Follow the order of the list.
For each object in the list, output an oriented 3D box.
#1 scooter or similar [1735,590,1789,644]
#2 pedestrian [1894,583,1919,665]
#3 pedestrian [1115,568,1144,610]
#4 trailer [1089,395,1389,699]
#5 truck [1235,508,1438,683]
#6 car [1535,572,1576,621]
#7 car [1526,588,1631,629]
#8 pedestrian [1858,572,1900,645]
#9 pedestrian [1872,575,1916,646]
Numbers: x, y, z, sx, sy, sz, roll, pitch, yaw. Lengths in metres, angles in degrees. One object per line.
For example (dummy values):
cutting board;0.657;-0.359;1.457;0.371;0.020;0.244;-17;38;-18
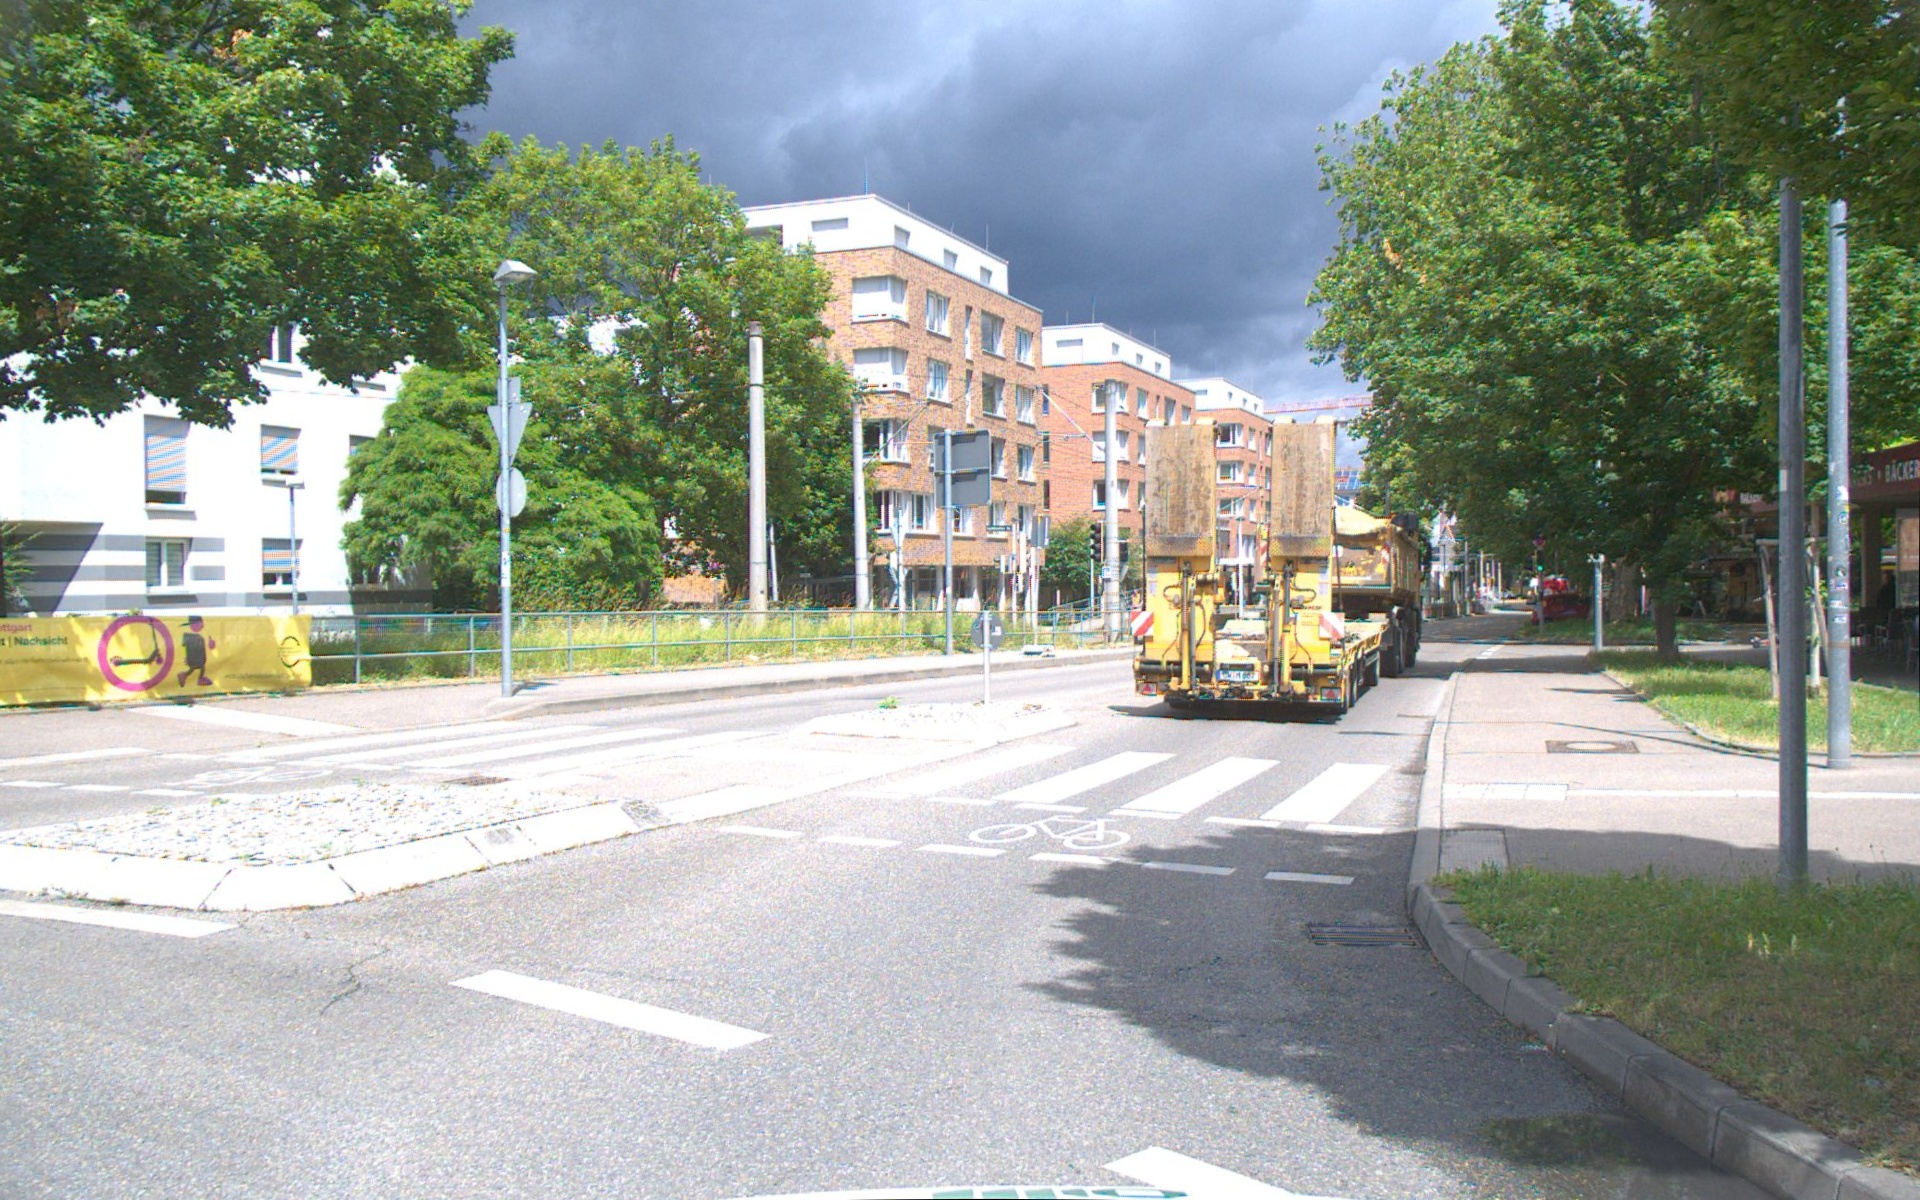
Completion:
scooter or similar;19.547;0.399;40.277;1.715;1.248;0.512;-2;1;-40
pedestrian;16.044;0.395;27.424;0.859;1.348;0.611;-1;0;20
pedestrian;8.484;-0.546;82.605;1.115;2.049;0.997;-1;0;27
trailer;4.547;-0.595;24.441;2.803;3.431;10.846;-2;0;18
truck;7.901;-0.241;33.793;2.926;3.087;8.488;1;2;21
car;37.178;-0.272;103.177;1.954;2.876;5.113;3;2;24
car;25.294;0.326;67.634;3.906;1.537;2.000;0;3;24
pedestrian;20.386;0.183;36.690;0.682;1.601;0.558;-1;0;15
pedestrian;20.379;0.227;36.107;0.682;1.514;0.558;-1;0;15
